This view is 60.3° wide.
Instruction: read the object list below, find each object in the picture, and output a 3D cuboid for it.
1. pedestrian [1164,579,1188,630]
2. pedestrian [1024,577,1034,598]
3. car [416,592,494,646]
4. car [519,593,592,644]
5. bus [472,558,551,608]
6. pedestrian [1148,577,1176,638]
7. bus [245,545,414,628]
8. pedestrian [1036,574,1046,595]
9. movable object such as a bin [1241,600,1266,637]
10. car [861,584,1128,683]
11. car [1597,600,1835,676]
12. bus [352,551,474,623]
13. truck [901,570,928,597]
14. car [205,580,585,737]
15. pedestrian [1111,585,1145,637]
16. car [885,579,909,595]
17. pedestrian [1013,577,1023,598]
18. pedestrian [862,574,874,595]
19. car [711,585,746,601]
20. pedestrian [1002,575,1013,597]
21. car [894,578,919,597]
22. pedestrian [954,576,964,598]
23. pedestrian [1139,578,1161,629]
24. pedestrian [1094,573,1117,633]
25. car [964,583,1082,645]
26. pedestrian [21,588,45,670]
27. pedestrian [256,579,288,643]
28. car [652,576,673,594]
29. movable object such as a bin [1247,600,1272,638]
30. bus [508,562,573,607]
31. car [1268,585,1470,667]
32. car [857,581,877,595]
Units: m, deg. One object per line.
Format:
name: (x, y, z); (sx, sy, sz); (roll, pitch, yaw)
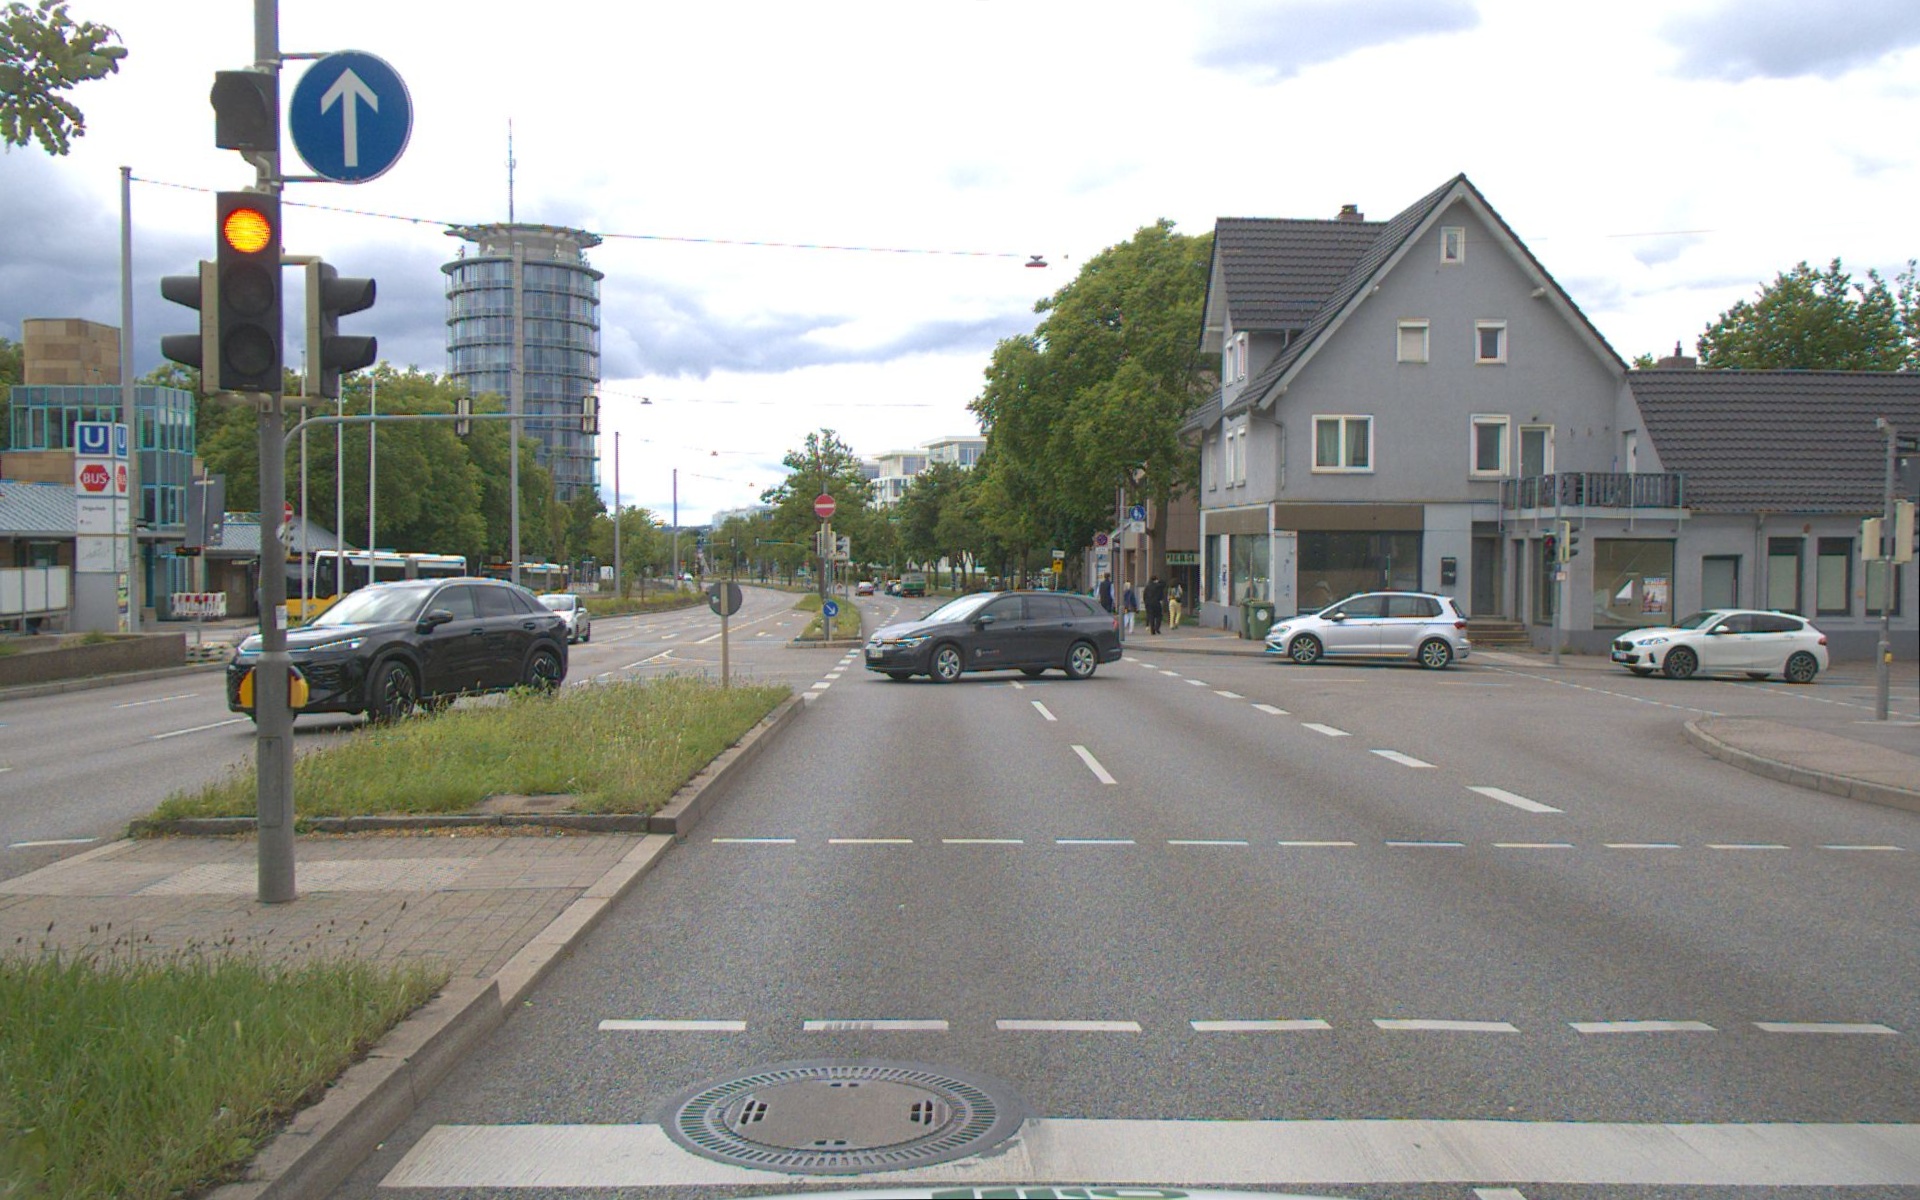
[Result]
pedestrian: (7.206, 0.137, 55.200); (0.690, 1.691, 0.871); (0, 0, 15)
pedestrian: (5.218, -0.935, 125.741); (0.638, 1.597, 0.669); (0, 0, -9)
car: (-15.471, 0.563, 50.807); (1.652, 1.606, 3.344); (0, 0, -6)
car: (-12.362, 0.548, 50.719); (1.651, 1.488, 3.552); (0, 0, -5)
bus: (-30.782, -1.116, 114.005); (3.082, 3.281, 10.279); (0, 0, -3)
pedestrian: (5.970, 0.216, 48.929); (0.691, 1.791, 1.052); (0, 0, 0)
bus: (-27.080, -0.561, 71.686); (2.927, 3.307, 10.174); (-1, 0, 3)
pedestrian: (6.188, -1.146, 125.939); (0.638, 1.597, 0.669); (0, 0, -9)
movable object such as a bin: (7.970, 0.493, 44.945); (0.518, 0.997, 0.736); (0, 0, -1)
car: (0.605, 0.528, 27.728); (4.229, 1.506, 1.698); (0, 1, -30)
car: (15.992, 0.795, 35.106); (4.160, 1.503, 1.998); (1, 0, -6)
bus: (-26.543, -0.614, 80.711); (2.927, 3.327, 7.879); (-1, 0, 3)
truck: (-4.345, -1.532, 156.419); (2.207, 2.459, 4.927); (0, 0, -5)
car: (-6.171, 0.552, 18.566); (1.798, 1.547, 4.071); (0, 1, 23)
pedestrian: (5.050, 0.317, 49.731); (0.851, 1.533, 0.706); (0, 0, -10)
car: (-6.599, -1.386, 173.773); (2.207, 1.676, 4.927); (0, 0, -6)
pedestrian: (4.393, -0.983, 125.869); (0.638, 1.597, 0.669); (0, 0, -9)
pedestrian: (-11.029, -1.839, 198.555); (1.210, 2.444, 1.306); (0, 0, -10)
car: (-22.818, -0.706, 162.805); (1.695, 1.518, 3.504); (-1, 0, -44)
pedestrian: (4.329, -1.269, 151.003); (0.951, 2.049, 0.981); (1, -1, -2)
car: (-5.399, -1.239, 164.996); (2.207, 1.787, 4.927); (0, 0, -5)
pedestrian: (-0.124, -1.419, 179.397); (0.914, 2.349, 1.008); (1, -1, -10)
pedestrian: (6.373, 0.115, 55.507); (0.690, 1.691, 0.871); (-1, 0, 5)
pedestrian: (4.440, 0.076, 50.565); (0.690, 1.811, 0.871); (-1, 0, 5)
car: (1.577, 0.347, 43.088); (1.859, 1.521, 4.080); (-1, 0, -17)
pedestrian: (-18.421, 0.578, 32.873); (0.414, 1.619, 0.353); (0, 0, -30)
pedestrian: (-20.758, 0.332, 49.919); (0.647, 1.930, 0.685); (0, 0, -1)
car: (-35.904, -1.825, 199.735); (1.925, 2.049, 3.999); (1, 0, -1)
movable object such as a bin: (8.000, 0.495, 44.155); (0.518, 0.997, 0.736); (0, 0, -1)
bus: (-31.144, -1.131, 123.003); (3.081, 3.281, 7.762); (0, 0, -2)
car: (8.624, 0.531, 35.187); (4.013, 1.567, 1.830); (2, 0, 10)
car: (-9.717, -1.256, 173.016); (1.929, 1.444, 4.017); (0, 0, -6)
